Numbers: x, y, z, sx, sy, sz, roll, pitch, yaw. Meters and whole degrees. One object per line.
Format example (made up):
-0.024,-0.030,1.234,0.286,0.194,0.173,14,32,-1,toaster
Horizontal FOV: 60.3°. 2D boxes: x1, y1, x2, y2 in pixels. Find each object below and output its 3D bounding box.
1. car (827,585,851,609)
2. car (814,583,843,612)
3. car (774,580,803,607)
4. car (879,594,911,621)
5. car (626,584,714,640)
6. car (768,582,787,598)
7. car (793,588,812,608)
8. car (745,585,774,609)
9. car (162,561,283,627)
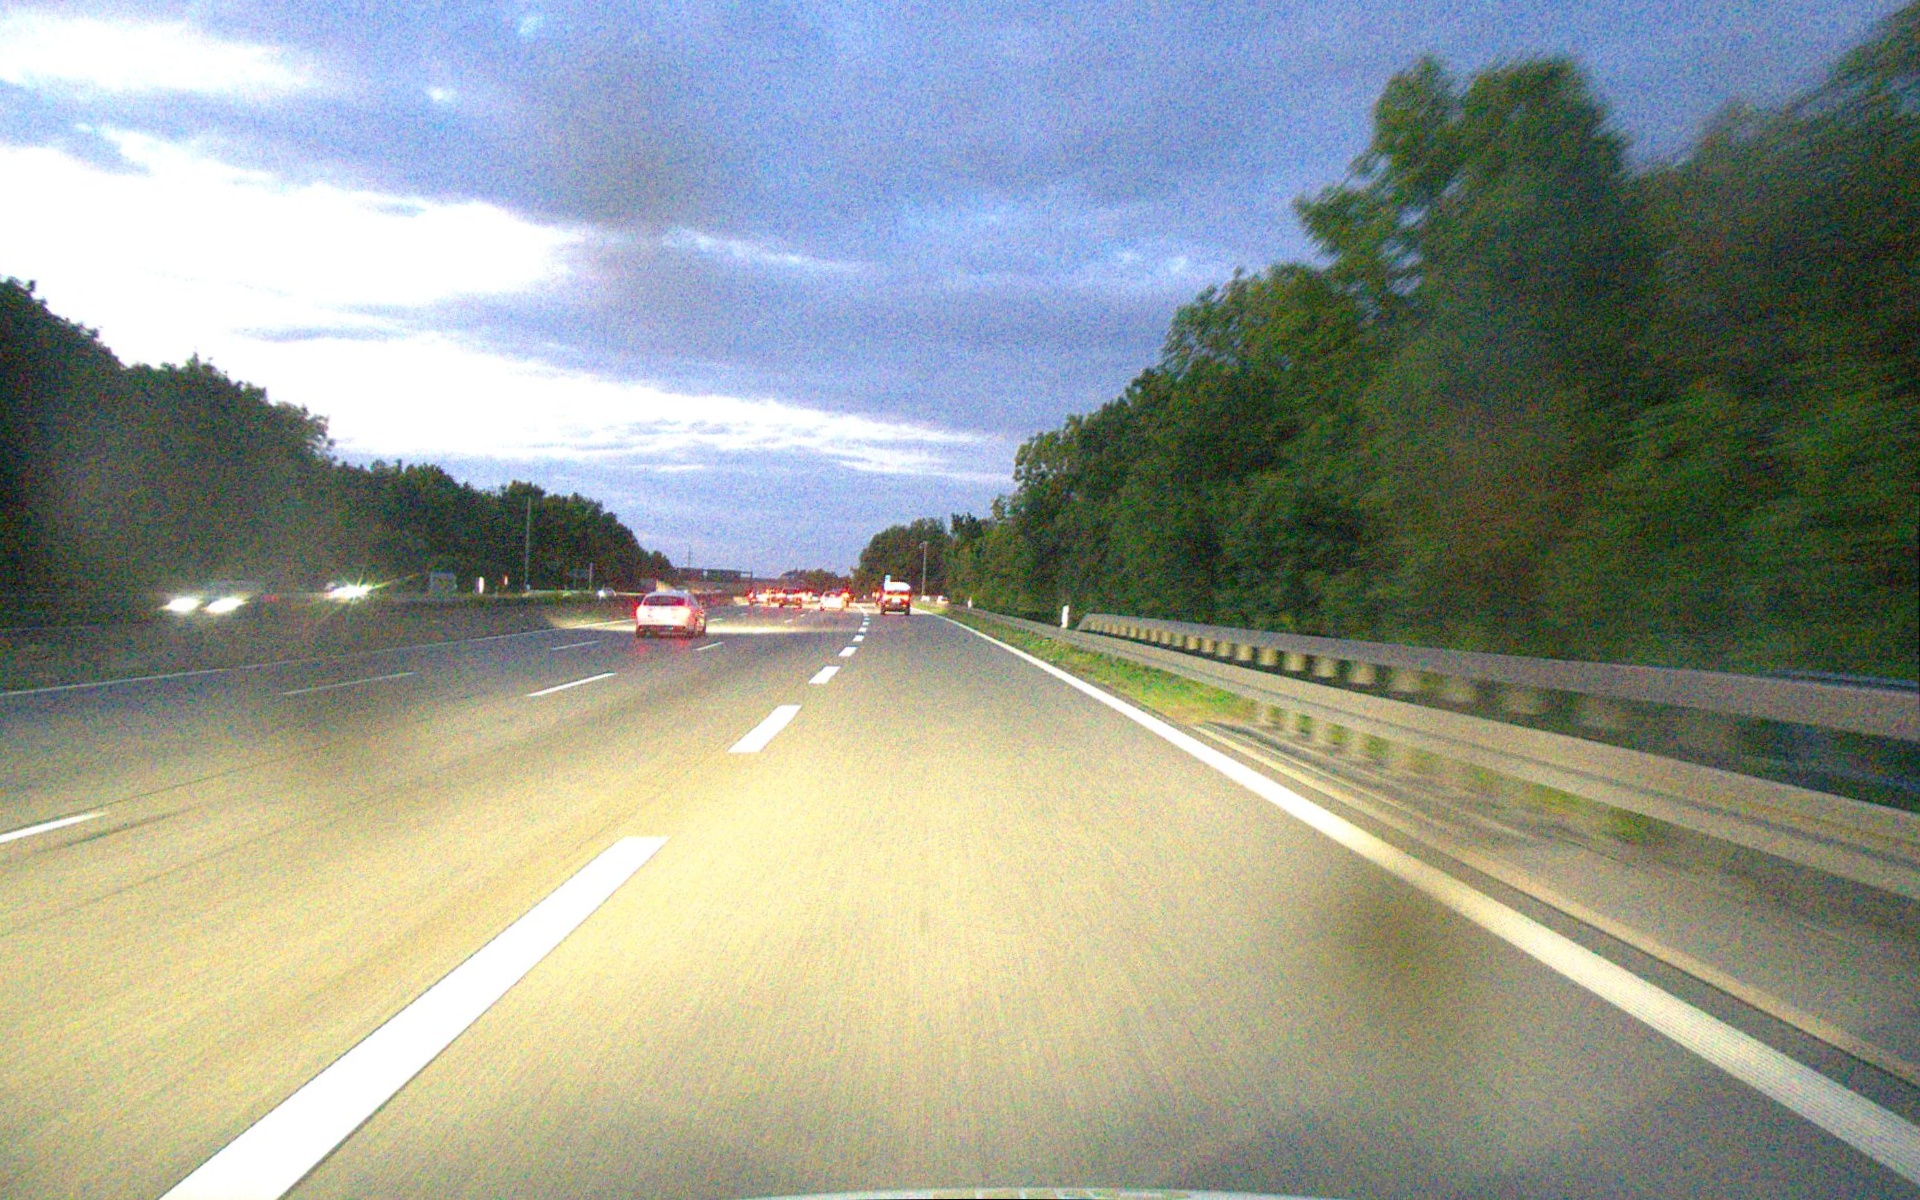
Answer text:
-10.854,-0.273,148.305,1.953,2.049,3.998,1,0,-3,car
-9.507,-0.196,119.859,1.954,2.049,3.997,1,0,-3,car
-13.726,-0.519,132.296,2.029,2.049,3.998,1,0,-2,car
-4.187,0.463,106.041,1.954,1.688,4.312,1,0,-3,car
-9.169,0.356,52.590,1.952,1.671,4.555,1,0,0,car
-24.826,-1.375,224.886,1.953,2.048,4.000,5,0,1,car
-16.578,-0.253,174.066,1.955,2.049,3.994,1,0,-7,car
-17.644,-0.297,145.511,2.061,2.049,4.000,0,0,1,car
-24.219,-0.175,54.516,1.953,2.049,4.494,1,0,-1,car
